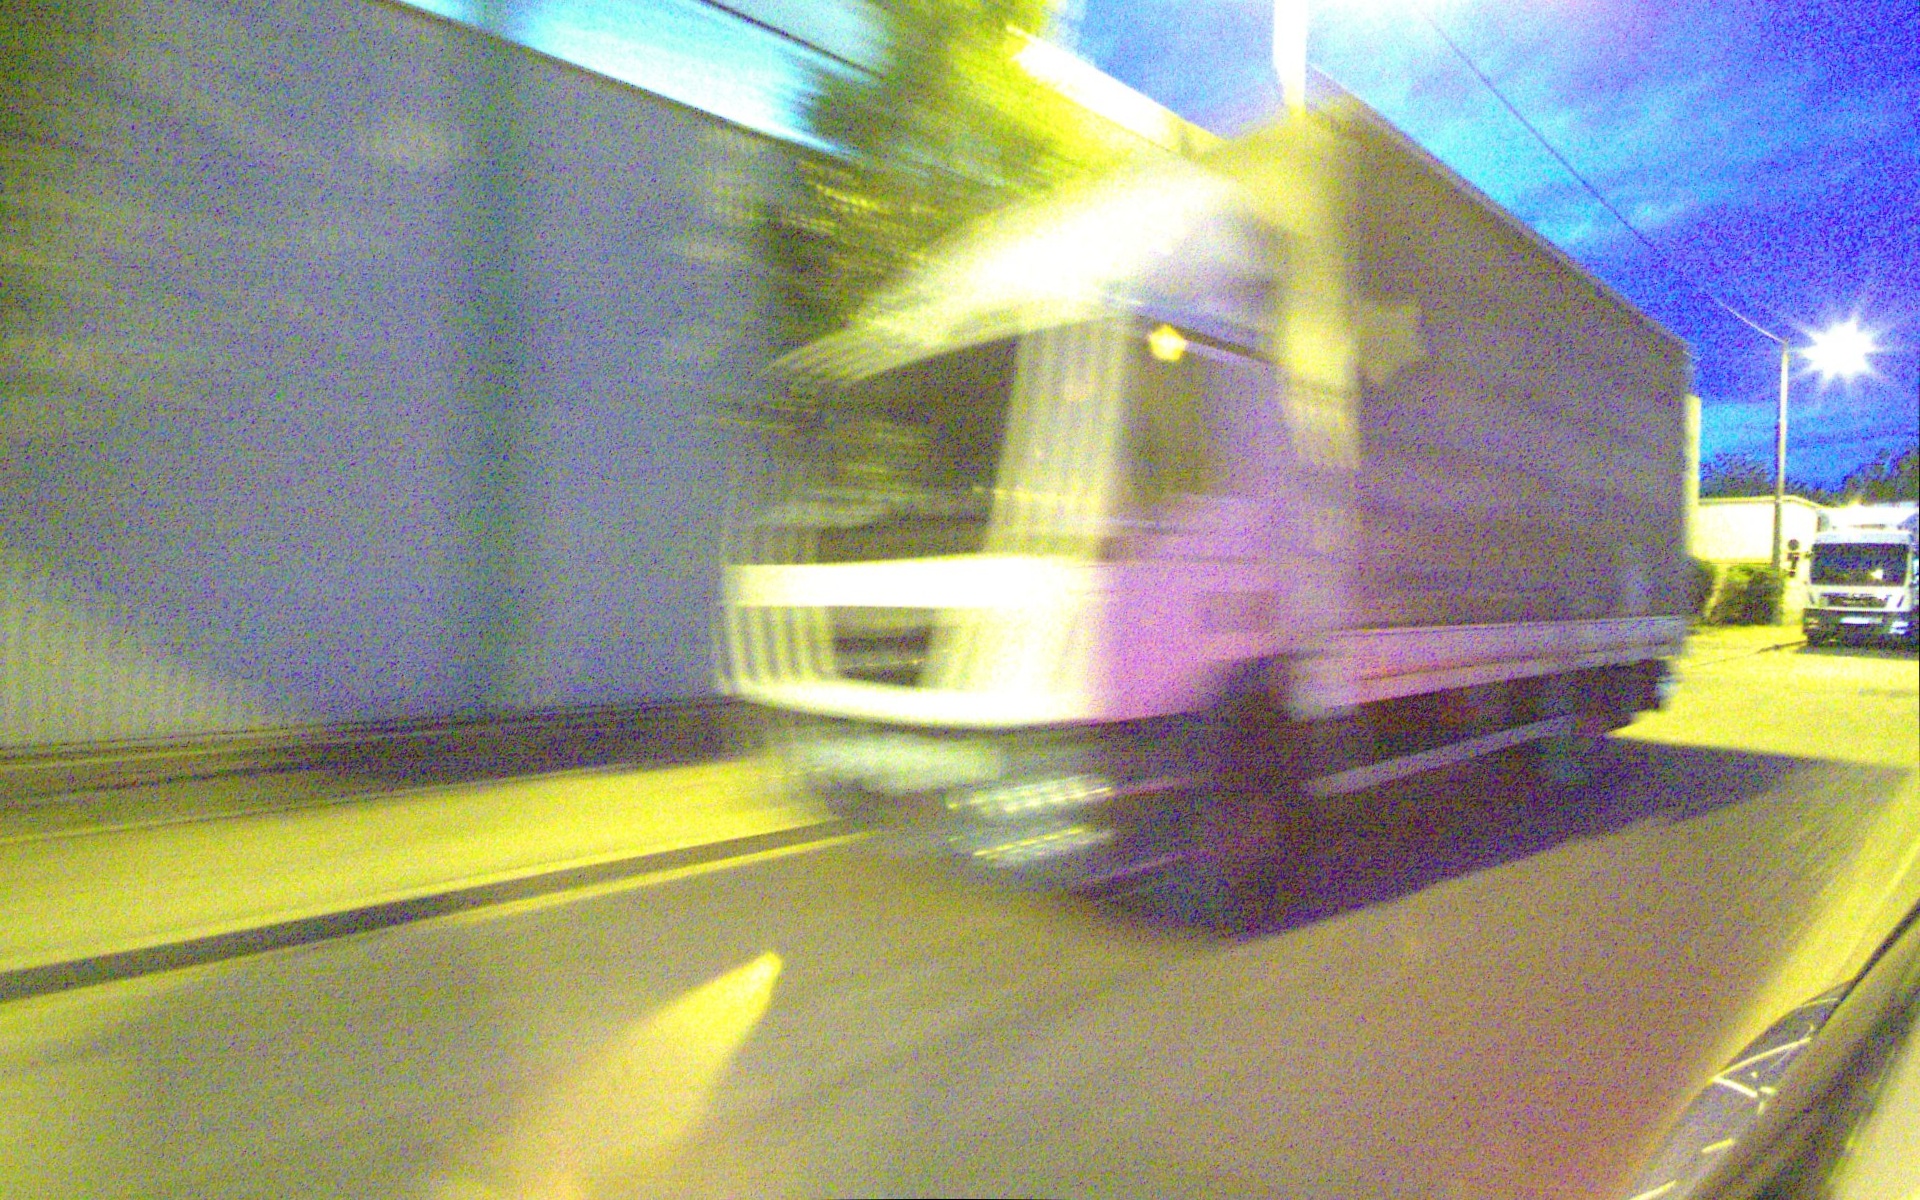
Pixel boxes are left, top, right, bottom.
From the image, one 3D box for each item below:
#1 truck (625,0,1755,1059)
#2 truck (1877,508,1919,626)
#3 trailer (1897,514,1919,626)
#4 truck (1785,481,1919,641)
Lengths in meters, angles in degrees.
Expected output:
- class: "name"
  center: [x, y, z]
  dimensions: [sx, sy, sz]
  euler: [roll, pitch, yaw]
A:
- class: "truck"
  center: [2.974, -0.689, 8.016]
  dimensions: [10.167, 4.031, 3.526]
  euler: [-1, 4, -43]
- class: "truck"
  center: [35.477, -1.150, 36.085]
  dimensions: [5.937, 4.031, 2.840]
  euler: [-1, 3, -36]
- class: "trailer"
  center: [40.705, -1.115, 39.844]
  dimensions: [13.712, 4.031, 2.819]
  euler: [-1, 3, -36]
- class: "truck"
  center: [27.349, -1.118, 29.553]
  dimensions: [10.155, 4.031, 2.838]
  euler: [-1, 3, -39]
